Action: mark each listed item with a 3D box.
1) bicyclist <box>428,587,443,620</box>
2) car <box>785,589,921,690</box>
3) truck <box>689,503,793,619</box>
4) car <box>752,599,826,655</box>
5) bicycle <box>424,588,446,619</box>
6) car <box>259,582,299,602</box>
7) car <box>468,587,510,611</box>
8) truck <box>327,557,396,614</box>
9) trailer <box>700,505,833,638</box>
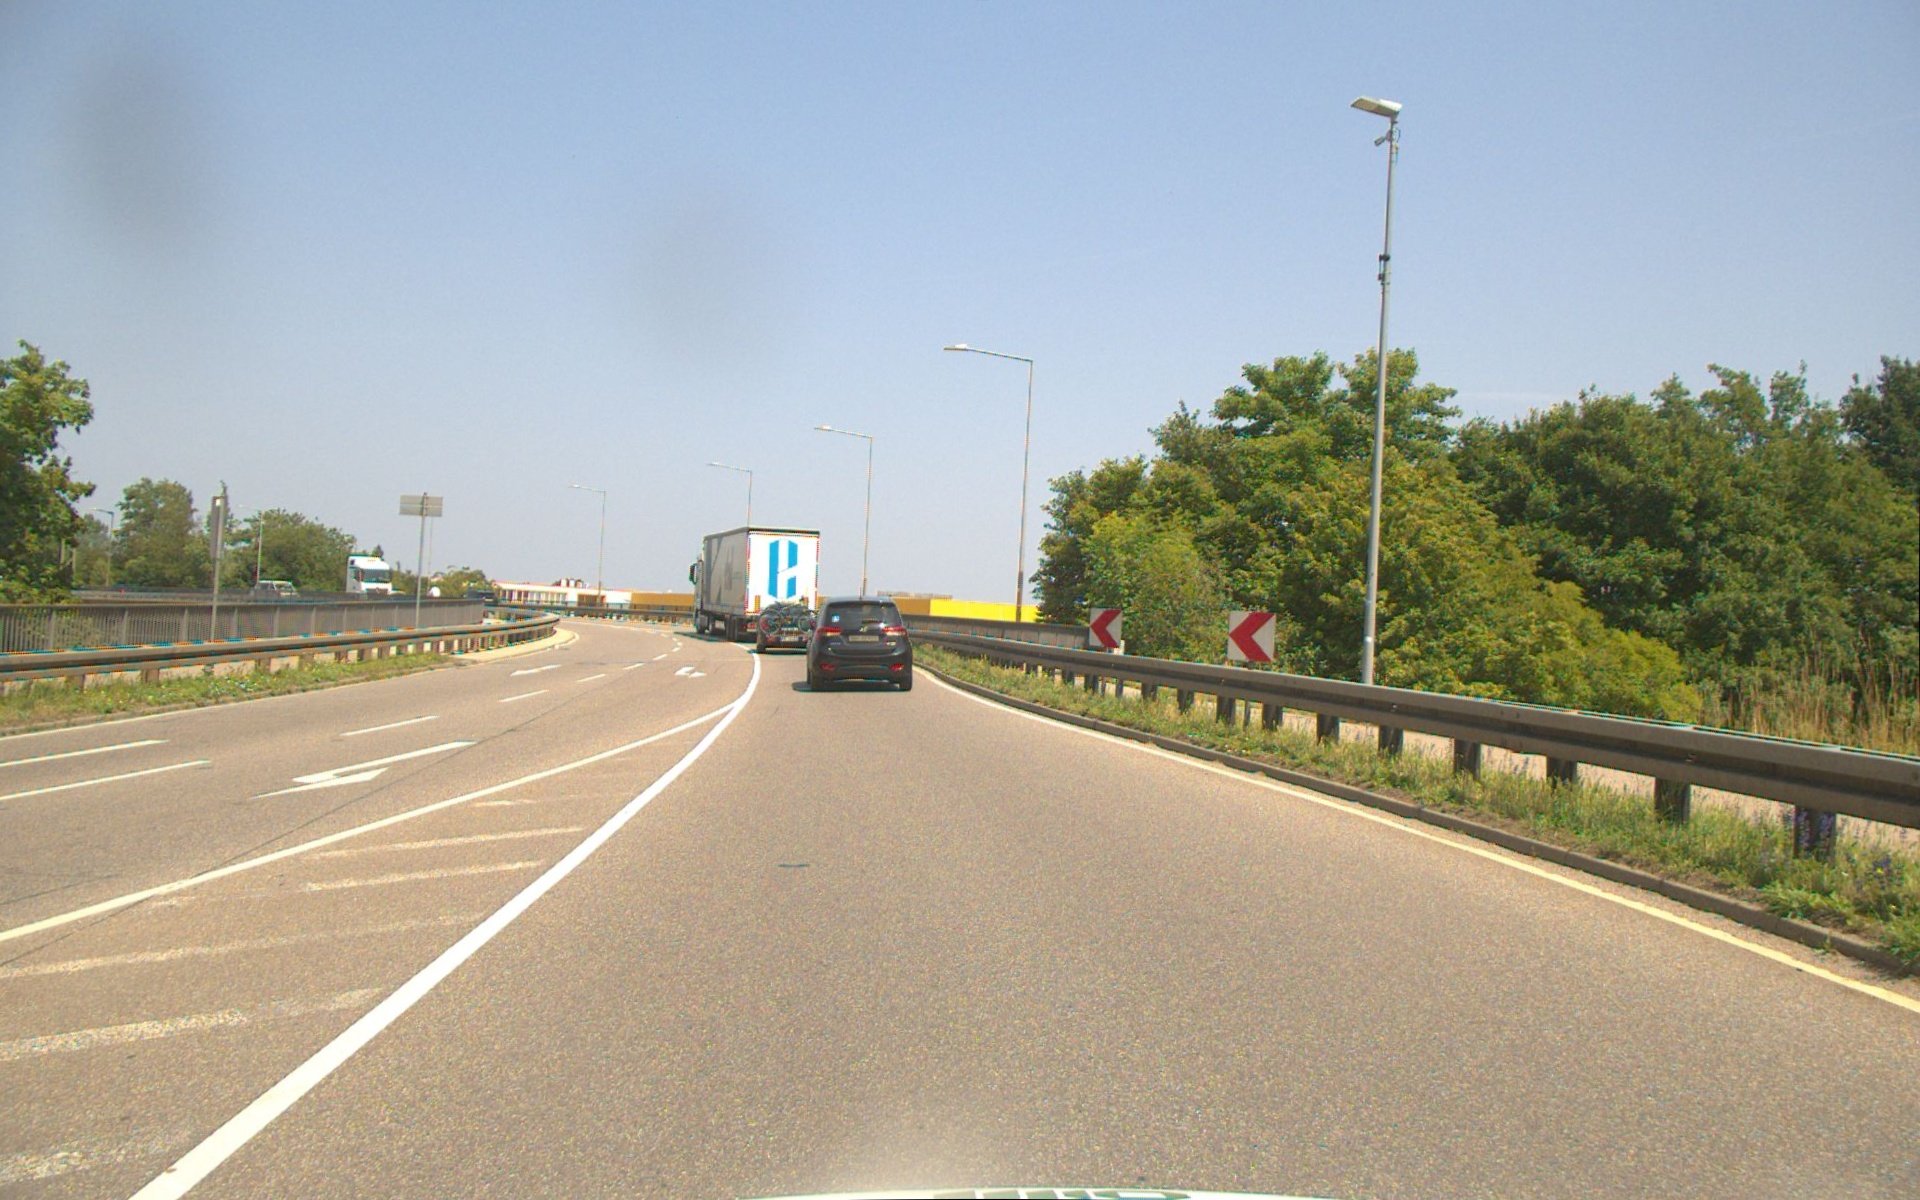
[{"bbox_3d":[-31.614,0.218,99.629,0.618,1.919,0.705,3,-1,-32],"label":"bicyclist"},{"bbox_3d":[-1.966,0.657,29.324,1.887,1.601,3.881,3,0,-11],"label":"car"},{"bbox_3d":[-9.408,-1.595,70.326,3.512,4.518,6.491,3,0,-14],"label":"truck"},{"bbox_3d":[-4.947,0.736,47.449,1.973,1.454,3.770,3,0,-7],"label":"car"},{"bbox_3d":[-31.668,0.205,99.711,0.691,1.833,2.156,3,0,-32],"label":"bicycle"},{"bbox_3d":[-54.928,-0.655,133.329,3.551,1.410,1.555,2,0,42],"label":"car"},{"bbox_3d":[-33.094,-0.051,116.198,1.823,1.534,3.593,3,0,-33],"label":"car"},{"bbox_3d":[-45.004,-1.104,124.207,2.691,4.061,6.092,3,0,-42],"label":"truck"},{"bbox_3d":[-7.577,-1.018,62.971,3.509,4.460,11.399,3,0,-14],"label":"trailer"}]
